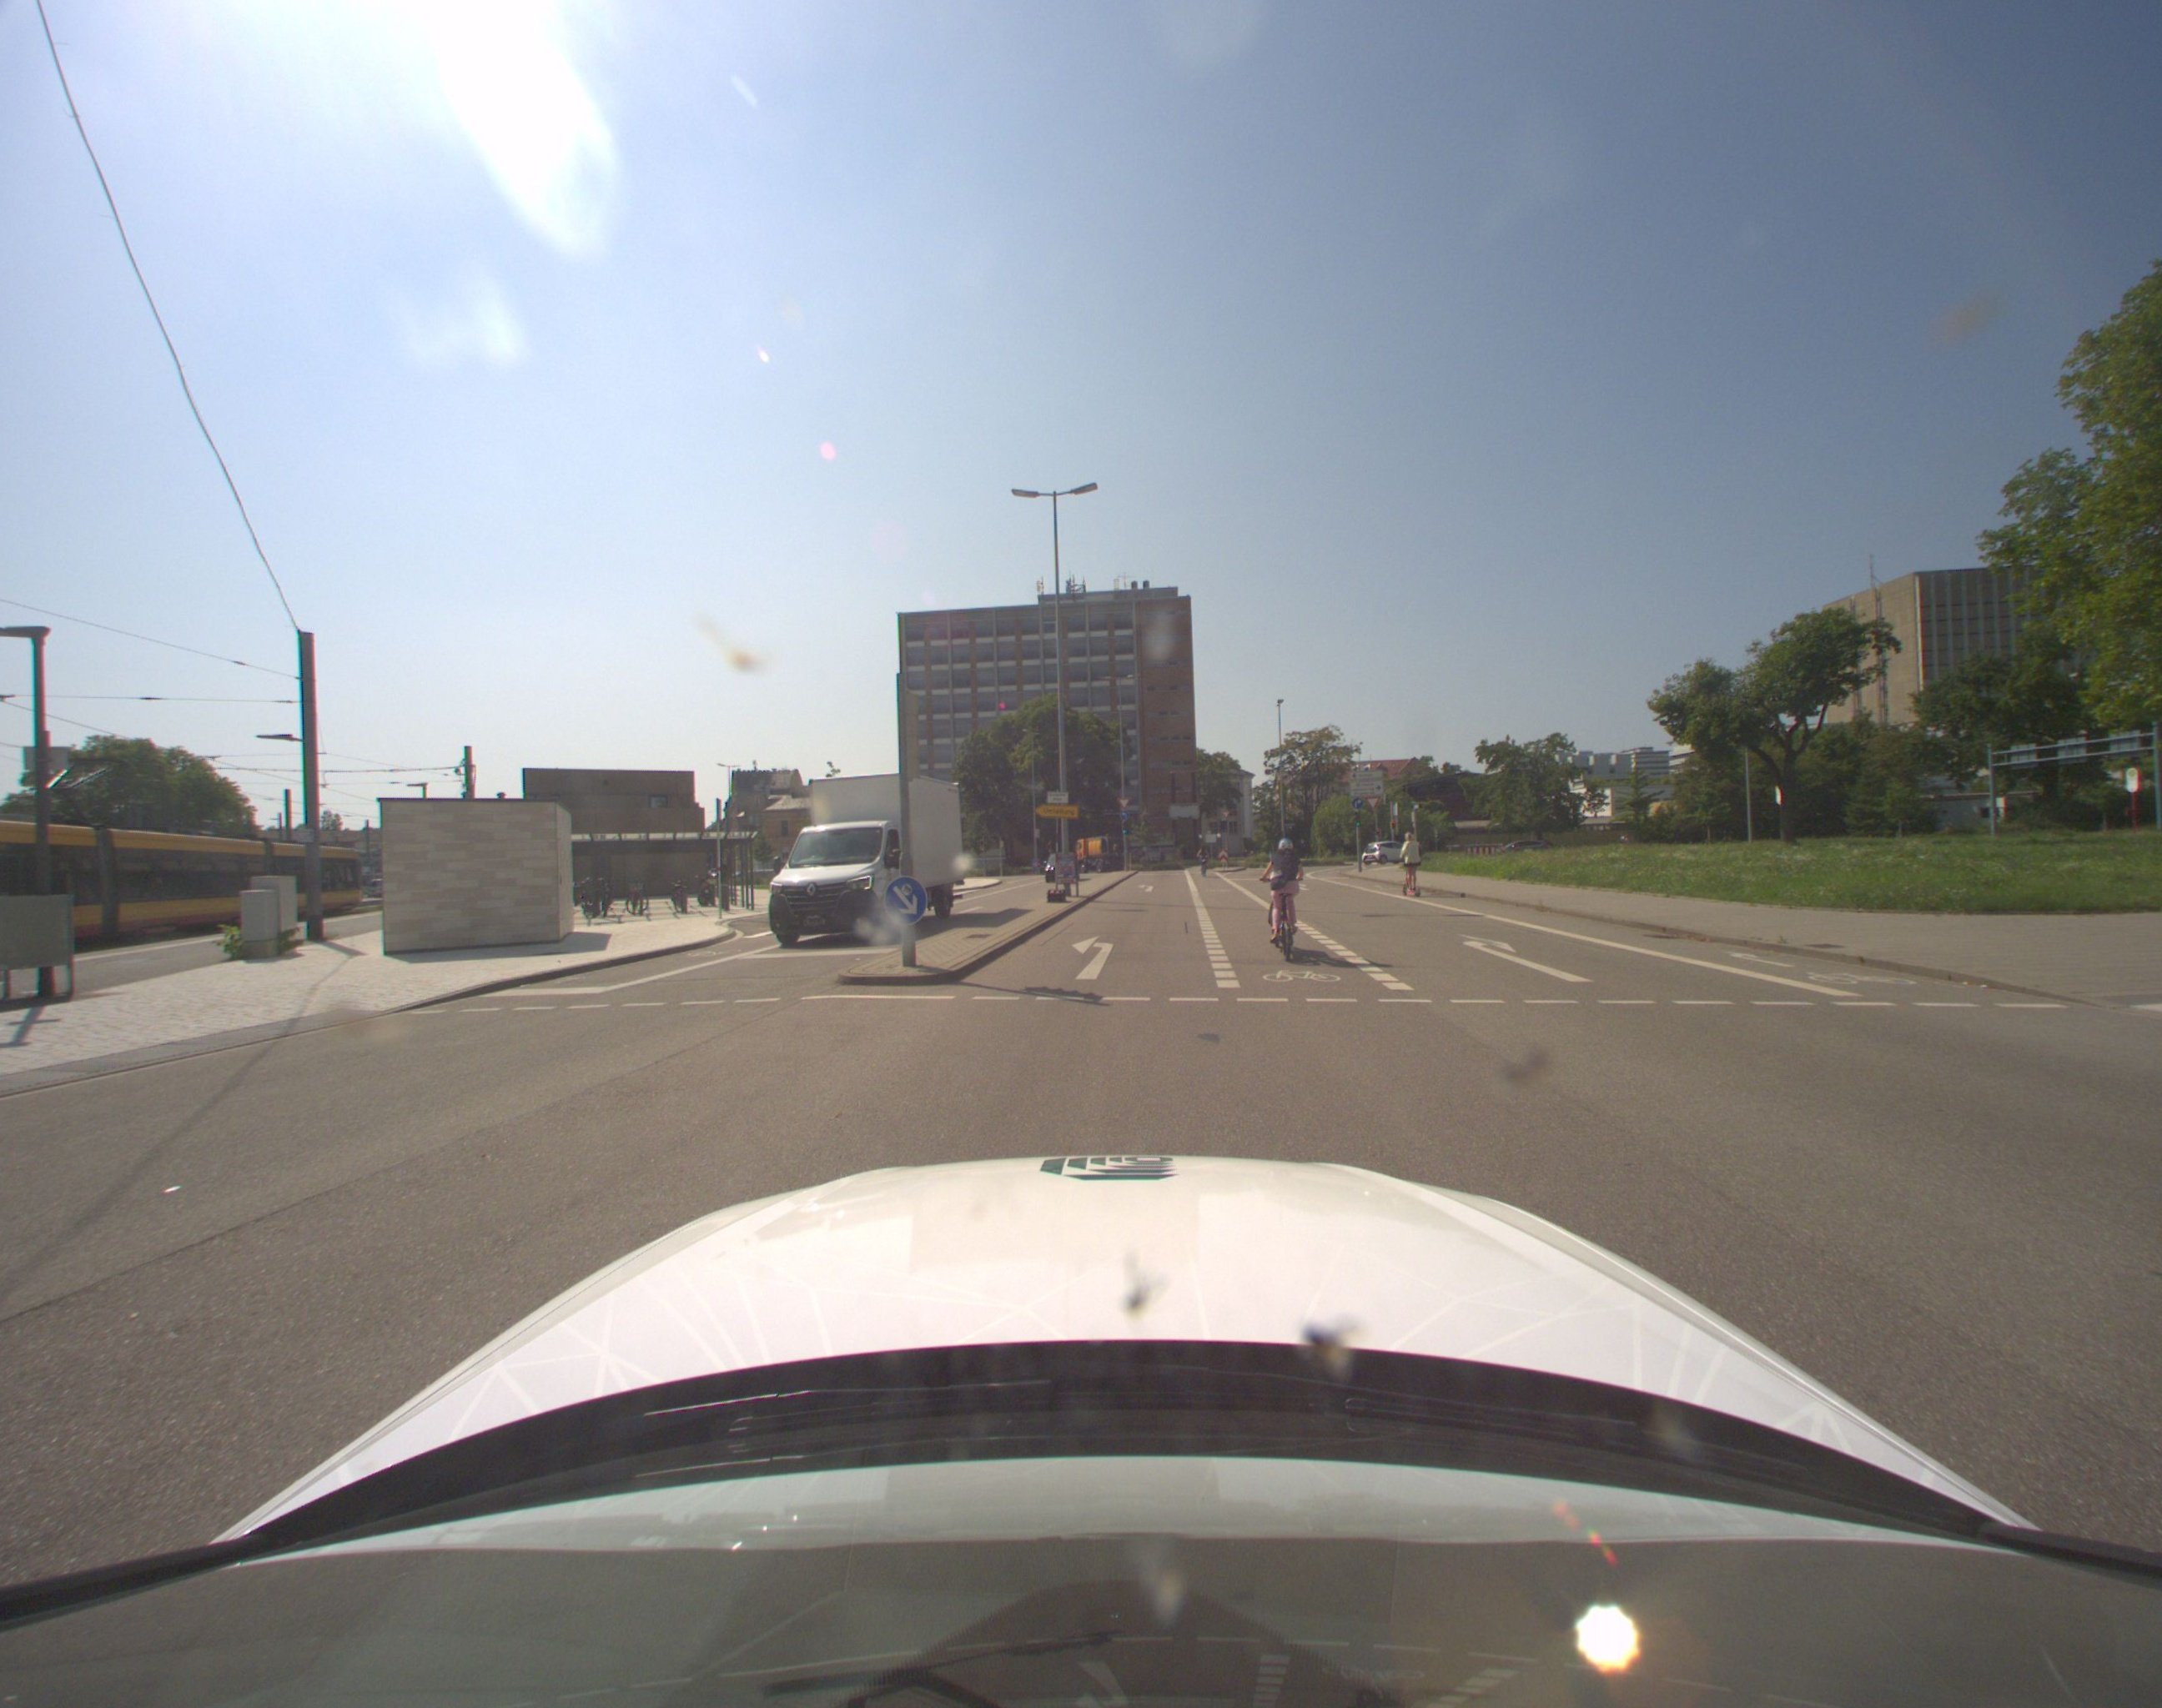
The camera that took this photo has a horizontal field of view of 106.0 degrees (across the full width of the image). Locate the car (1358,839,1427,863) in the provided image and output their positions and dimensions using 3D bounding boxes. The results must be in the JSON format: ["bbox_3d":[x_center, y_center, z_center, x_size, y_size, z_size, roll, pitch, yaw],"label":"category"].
[{"bbox_3d":[20.131,-0.187,52.663,4.005,1.391,1.834,-2,0,-23],"label":"car"}]

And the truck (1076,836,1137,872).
[{"bbox_3d":[2.101,0.035,70.348,2.711,2.990,5.914,-1,0,-27],"label":"truck"}]

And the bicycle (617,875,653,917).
[{"bbox_3d":[-14.035,1.294,25.644,0.605,1.210,1.800,-2,0,-17],"label":"bicycle"}]

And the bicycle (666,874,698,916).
[{"bbox_3d":[-12.697,1.283,25.945,0.605,1.210,1.800,-2,0,-17],"label":"bicycle"}]

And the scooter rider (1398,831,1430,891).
[{"bbox_3d":[10.010,0.203,24.475,0.756,1.775,0.557,-2,0,14],"label":"scooter rider"}]

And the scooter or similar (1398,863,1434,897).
[{"bbox_3d":[9.988,0.758,24.333,0.766,0.926,1.627,-1,0,15],"label":"scooter or similar"}]

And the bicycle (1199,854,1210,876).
[{"bbox_3d":[6.488,0.584,42.696,0.442,1.116,1.448,-2,0,6],"label":"bicycle"}]

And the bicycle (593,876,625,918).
[{"bbox_3d":[-14.674,1.311,25.370,0.541,1.210,1.602,-2,0,-20],"label":"bicycle"}]

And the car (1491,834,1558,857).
[{"bbox_3d":[32.930,-0.625,60.553,3.964,1.565,1.828,-2,0,8],"label":"car"}]

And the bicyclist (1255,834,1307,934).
[{"bbox_3d":[2.784,0.410,11.368,0.599,1.335,0.661,-2,0,8],"label":"bicyclist"}]

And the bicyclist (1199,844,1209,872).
[{"bbox_3d":[6.492,0.198,42.939,0.447,1.421,0.496,-2,0,5],"label":"bicyclist"}]

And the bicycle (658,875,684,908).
[{"bbox_3d":[-16.400,1.484,32.594,0.605,1.210,1.800,-2,0,-17],"label":"bicycle"}]

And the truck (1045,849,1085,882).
[{"bbox_3d":[-0.791,0.552,41.428,1.547,1.504,3.626,-3,0,5],"label":"truck"}]

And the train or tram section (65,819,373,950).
[{"bbox_3d":[-34.737,1.099,34.437,2.903,4.068,18.966,-1,0,-28],"label":"train or tram section"}]

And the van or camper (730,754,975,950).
[{"bbox_3d":[-4.440,-0.053,17.691,2.387,3.306,7.205,-2,0,7],"label":"van or camper"}]

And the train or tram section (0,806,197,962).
[{"bbox_3d":[-26.109,0.719,18.307,2.873,3.548,17.576,-1,0,-29],"label":"train or tram section"}]

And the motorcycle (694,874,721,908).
[{"bbox_3d":[-14.364,1.391,31.338,0.605,1.210,2.240,-2,0,-17],"label":"motorcycle"}]

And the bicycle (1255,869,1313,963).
[{"bbox_3d":[2.819,0.820,11.465,0.600,1.163,1.815,-2,0,9],"label":"bicycle"}]
